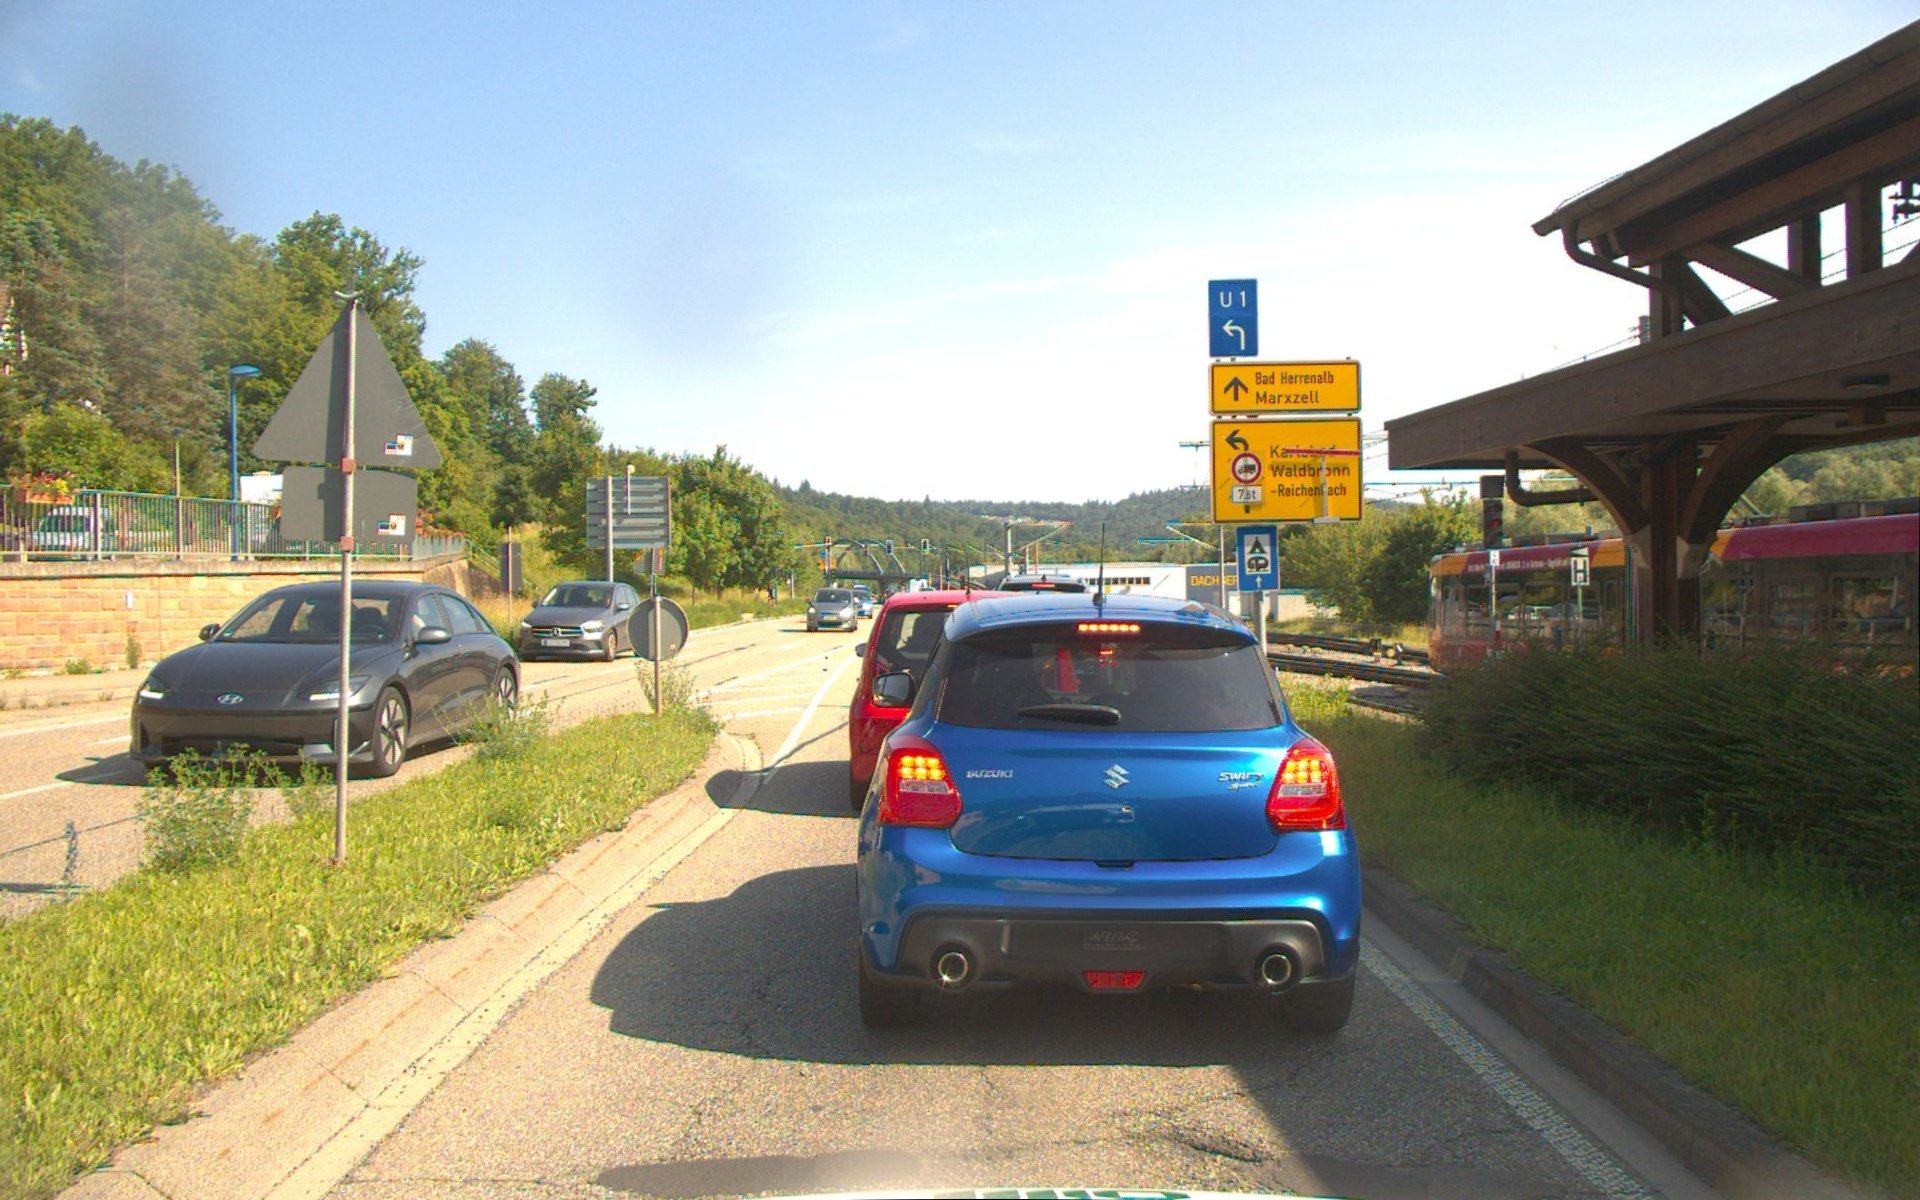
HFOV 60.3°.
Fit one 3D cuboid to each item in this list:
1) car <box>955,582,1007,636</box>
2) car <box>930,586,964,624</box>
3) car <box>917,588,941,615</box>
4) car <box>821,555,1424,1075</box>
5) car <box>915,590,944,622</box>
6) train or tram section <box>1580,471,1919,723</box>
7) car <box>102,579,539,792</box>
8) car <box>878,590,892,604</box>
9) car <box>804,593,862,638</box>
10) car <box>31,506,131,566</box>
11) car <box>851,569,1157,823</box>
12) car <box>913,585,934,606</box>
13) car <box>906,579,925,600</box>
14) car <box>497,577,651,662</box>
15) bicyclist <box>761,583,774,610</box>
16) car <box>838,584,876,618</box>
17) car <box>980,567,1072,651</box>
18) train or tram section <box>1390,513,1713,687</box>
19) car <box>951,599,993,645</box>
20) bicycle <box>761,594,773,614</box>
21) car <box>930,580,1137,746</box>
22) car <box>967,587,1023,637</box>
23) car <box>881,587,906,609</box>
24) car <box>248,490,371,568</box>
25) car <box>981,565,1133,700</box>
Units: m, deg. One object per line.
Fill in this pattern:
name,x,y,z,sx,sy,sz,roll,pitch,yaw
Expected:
car,0.834,0.345,68.106,1.953,2.048,4.000,2,1,-1
car,-0.797,0.276,98.792,1.953,2.048,4.000,2,1,-1
car,-2.616,0.111,138.824,1.953,2.048,4.000,2,1,-1
car,0.449,0.642,7.040,1.831,1.575,3.999,1,0,-2
car,-2.158,0.403,117.198,1.953,2.048,4.000,2,1,-1
train or tram section,14.155,-0.007,27.330,2.731,3.423,12.041,2,0,-3
car,-5.143,0.586,14.105,1.754,1.496,4.717,0,0,2
car,-11.094,-0.411,244.274,1.953,2.049,3.999,1,0,-1
car,-4.391,0.517,57.628,1.637,1.466,3.840,1,0,1
car,-26.149,-1.859,49.339,1.864,1.658,3.982,0,1,-16
car,0.311,0.615,12.708,1.952,1.598,4.000,1,0,1
car,-3.498,-0.468,157.915,1.953,1.848,4.000,2,1,-1
car,-4.692,-1.094,175.971,1.953,2.181,4.719,1,0,-1
car,-7.663,0.343,33.257,1.952,1.591,4.510,0,1,1
bicyclist,-10.815,-0.194,92.994,0.617,1.533,0.505,2,1,-4
car,-5.336,0.034,85.979,1.796,1.493,3.810,2,3,-2
car,1.459,0.172,38.111,1.952,1.766,4.000,2,1,1
train or tram section,13.498,-0.094,39.383,2.701,3.422,12.041,2,1,-3
car,0.591,1.074,82.876,1.953,2.048,4.000,2,1,-1
bicycle,-10.839,0.244,93.012,0.555,1.061,1.550,2,1,-4
car,0.725,0.579,17.983,1.952,1.558,4.602,0,1,1
car,1.208,0.380,56.589,1.794,1.519,3.812,2,1,1
car,-5.647,-0.170,140.050,1.953,1.814,3.999,1,0,-1
car,-17.731,-1.900,45.296,1.982,1.953,4.724,2,1,-7
car,1.310,0.412,24.076,1.952,1.716,4.497,2,1,1
